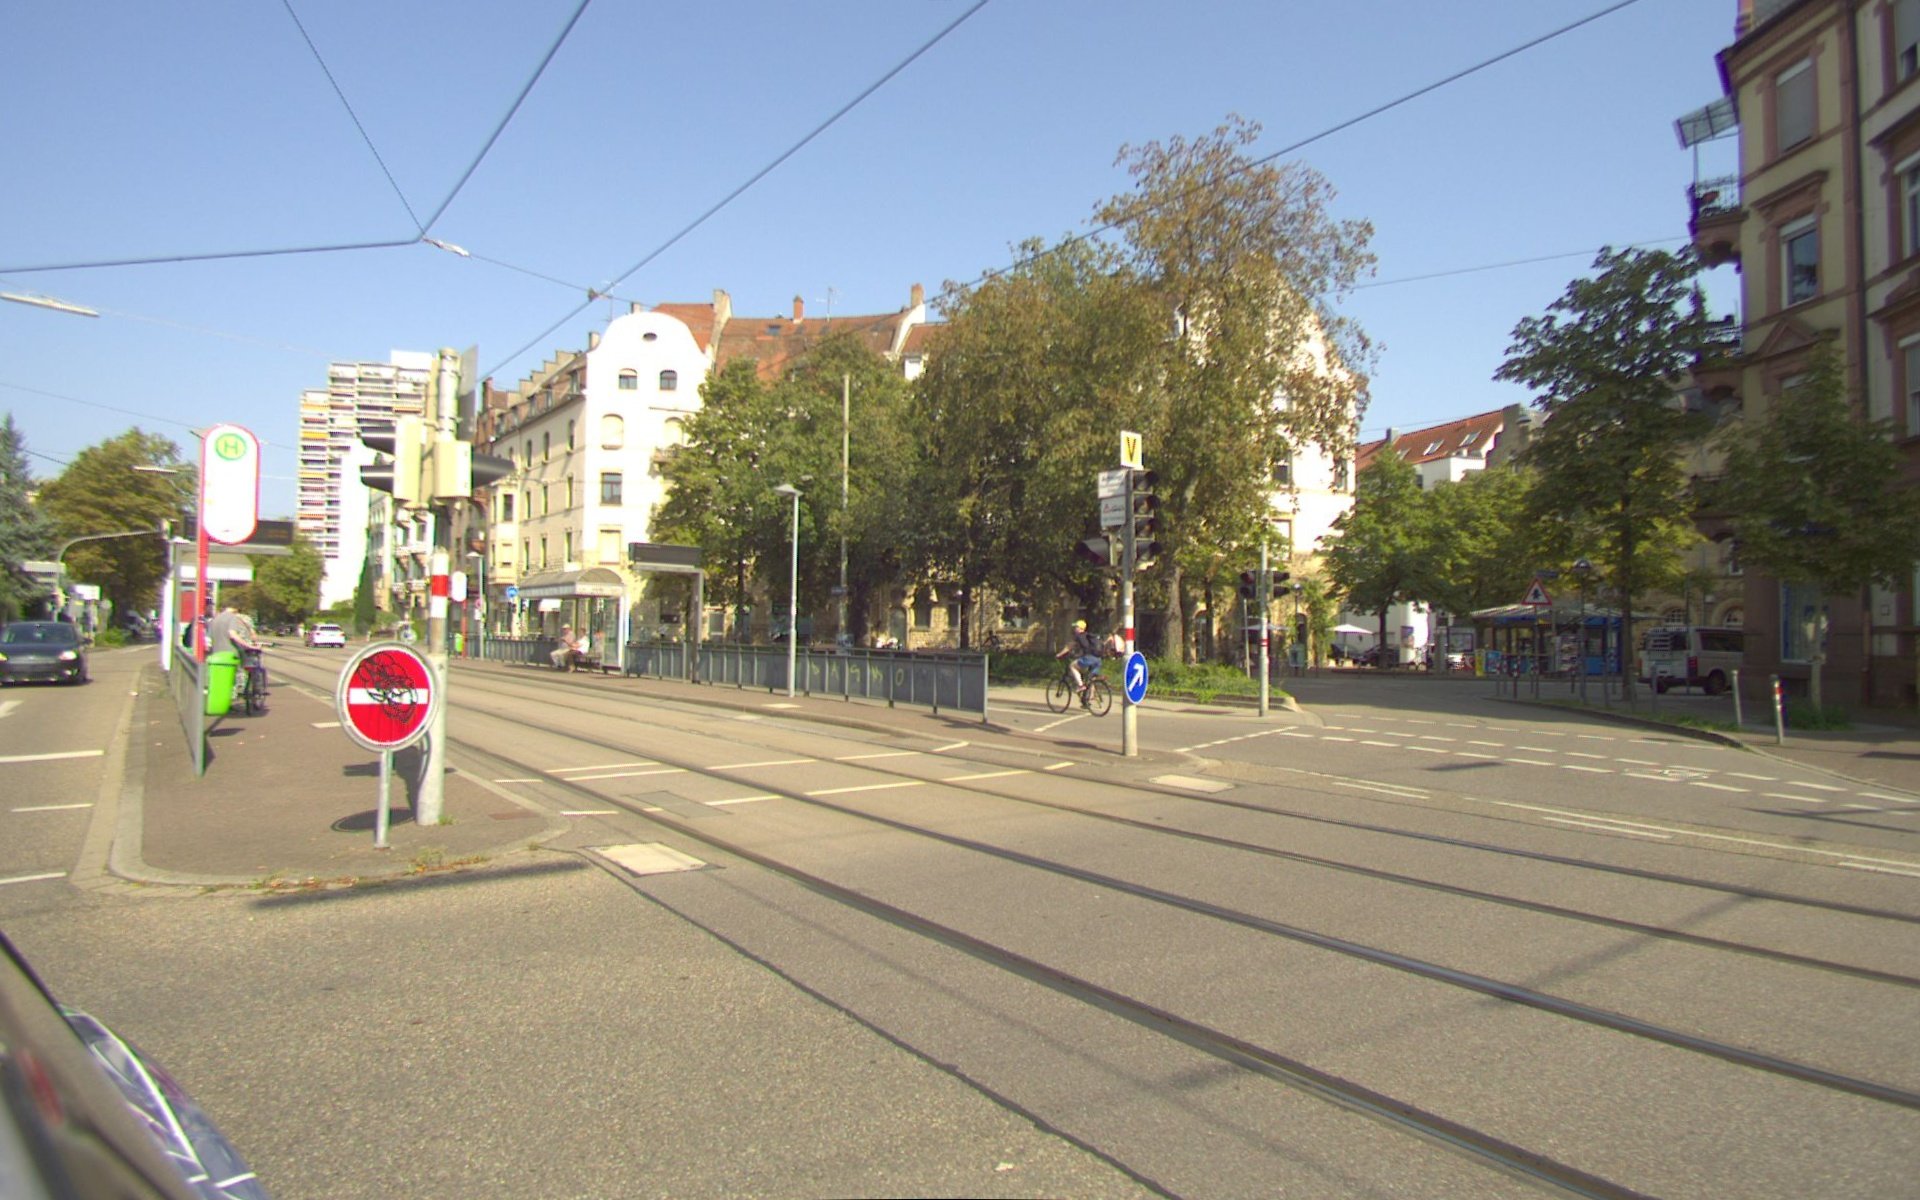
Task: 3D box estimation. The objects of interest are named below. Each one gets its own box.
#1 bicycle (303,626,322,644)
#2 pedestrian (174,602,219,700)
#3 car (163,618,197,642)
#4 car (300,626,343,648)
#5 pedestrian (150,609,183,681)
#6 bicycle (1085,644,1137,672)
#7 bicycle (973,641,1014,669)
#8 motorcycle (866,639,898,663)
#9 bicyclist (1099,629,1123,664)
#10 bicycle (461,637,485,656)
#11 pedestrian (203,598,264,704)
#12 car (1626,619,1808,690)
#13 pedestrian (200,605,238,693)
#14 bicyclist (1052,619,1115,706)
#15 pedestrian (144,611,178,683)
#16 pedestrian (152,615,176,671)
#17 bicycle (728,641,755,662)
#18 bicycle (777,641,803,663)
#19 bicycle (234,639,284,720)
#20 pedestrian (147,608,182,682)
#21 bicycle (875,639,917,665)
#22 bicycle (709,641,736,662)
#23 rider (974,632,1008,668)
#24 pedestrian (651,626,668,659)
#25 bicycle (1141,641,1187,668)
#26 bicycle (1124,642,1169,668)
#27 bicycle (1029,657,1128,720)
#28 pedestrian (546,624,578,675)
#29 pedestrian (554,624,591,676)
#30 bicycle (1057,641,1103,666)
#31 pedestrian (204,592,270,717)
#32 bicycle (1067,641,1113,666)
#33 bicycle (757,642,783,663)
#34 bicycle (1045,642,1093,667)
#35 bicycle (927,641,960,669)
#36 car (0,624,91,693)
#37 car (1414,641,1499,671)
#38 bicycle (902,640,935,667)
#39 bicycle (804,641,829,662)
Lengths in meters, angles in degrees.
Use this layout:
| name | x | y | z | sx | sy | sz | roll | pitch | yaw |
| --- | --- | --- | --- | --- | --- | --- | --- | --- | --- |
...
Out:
| name | x | y | z | sx | sy | sz | roll | pitch | yaw |
| --- | --- | --- | --- | --- | --- | --- | --- | --- | --- |
| bicycle | -69.365 | 3.761 | 108.470 | 1.001 | 1.872 | 3.558 | 0 | -1 | -45 |
| pedestrian | -14.505 | 0.957 | 19.214 | 0.596 | 1.820 | 0.731 | 2 | -3 | -40 |
| car | -74.496 | 2.884 | 96.698 | 2.053 | 2.295 | 4.841 | 2 | -3 | -32 |
| car | -43.008 | 2.500 | 68.153 | 1.708 | 1.445 | 3.925 | 2 | -3 | -44 |
| pedestrian | -20.035 | 1.131 | 25.558 | 0.581 | 1.777 | 0.608 | 2 | -3 | -37 |
| bicycle | 6.097 | 2.338 | 40.956 | 2.069 | 1.112 | 0.647 | -1 | -3 | 38 |
| bicycle | 1.702 | 2.756 | 50.987 | 0.866 | 1.381 | 2.273 | -1 | -3 | 39 |
| motorcycle | -4.180 | 2.723 | 54.294 | 0.676 | 1.186 | 1.861 | -1 | -1 | 36 |
| bicyclist | 6.102 | 1.882 | 40.975 | 0.757 | 1.370 | 0.647 | -1 | -3 | 38 |
| bicycle | -30.533 | 2.915 | 63.431 | 1.894 | 1.112 | 0.538 | -1 | -3 | 38 |
| pedestrian | -12.569 | 0.870 | 17.500 | 0.758 | 1.774 | 0.681 | 2 | -3 | -40 |
| car | 22.859 | 1.619 | 30.609 | 4.514 | 2.032 | 2.086 | 1 | -2 | -16 |
| pedestrian | -15.232 | 1.008 | 20.808 | 0.545 | 1.774 | 0.534 | 2 | -3 | -40 |
| bicyclist | 2.385 | 1.187 | 19.594 | 0.664 | 1.626 | 1.046 | 2 | -3 | -37 |
| pedestrian | -20.939 | 1.231 | 26.542 | 0.628 | 1.862 | 0.635 | 2 | -3 | -37 |
| pedestrian | -26.436 | 1.432 | 33.610 | 0.551 | 1.816 | 0.678 | 2 | -3 | -36 |
| bicycle | -12.038 | 2.827 | 55.782 | 0.689 | 1.087 | 2.335 | 0 | -1 | 8 |
| bicycle | -9.224 | 2.826 | 54.929 | 0.689 | 1.087 | 2.335 | 0 | -1 | 8 |
| bicycle | -10.357 | 1.145 | 14.985 | 0.466 | 1.112 | 1.742 | 2 | -3 | -31 |
| pedestrian | -20.478 | 1.161 | 26.055 | 0.628 | 1.862 | 0.635 | 2 | -3 | -37 |
| bicycle | -3.387 | 2.750 | 53.808 | 0.867 | 1.381 | 2.272 | -1 | -3 | 40 |
| bicycle | -13.171 | 2.854 | 56.210 | 0.689 | 1.087 | 2.335 | 0 | -1 | 8 |
| rider | 1.308 | 2.120 | 43.393 | 0.981 | 1.523 | 1.117 | 1 | -2 | -35 |
| pedestrian | -17.318 | 2.425 | 58.334 | 0.724 | 1.882 | 0.674 | 3 | -3 | -43 |
| bicycle | 8.892 | 2.361 | 44.065 | 2.057 | 1.112 | 0.658 | 2 | -2 | -31 |
| bicycle | 8.300 | 2.443 | 45.058 | 2.057 | 1.112 | 0.658 | 2 | -2 | -31 |
| bicycle | 2.273 | 1.694 | 19.721 | 0.675 | 1.112 | 2.074 | 2 | -3 | -37 |
| pedestrian | -11.604 | 1.443 | 29.517 | 0.668 | 1.467 | 0.720 | 2 | -3 | -38 |
| pedestrian | -10.975 | 1.413 | 28.680 | 0.782 | 1.467 | 0.720 | 2 | -3 | -38 |
| bicycle | 5.672 | 2.537 | 47.973 | 0.646 | 1.112 | 2.336 | 2 | -3 | -41 |
| pedestrian | -10.643 | 0.792 | 14.886 | 0.681 | 1.780 | 0.797 | 2 | -3 | -40 |
| bicycle | 6.217 | 2.548 | 48.502 | 0.646 | 1.112 | 2.336 | 2 | -3 | -41 |
| bicycle | -10.482 | 2.888 | 55.858 | 0.689 | 1.087 | 2.335 | 0 | -2 | 8 |
| bicycle | 5.117 | 2.522 | 47.465 | 0.762 | 1.112 | 2.336 | 2 | -3 | -41 |
| bicycle | -0.832 | 2.836 | 52.338 | 0.862 | 1.381 | 2.286 | 0 | -2 | 22 |
| car | -21.499 | 1.312 | 23.623 | 1.748 | 1.479 | 4.006 | 1 | -2 | -40 |
| car | 30.926 | 3.464 | 63.109 | 4.514 | 1.805 | 2.086 | 1 | -2 | -16 |
| bicycle | -2.177 | 2.823 | 53.227 | 0.862 | 1.381 | 2.286 | 0 | -2 | 22 |
| bicycle | -7.744 | 2.783 | 54.745 | 0.689 | 1.087 | 2.335 | 0 | -2 | 8 |
